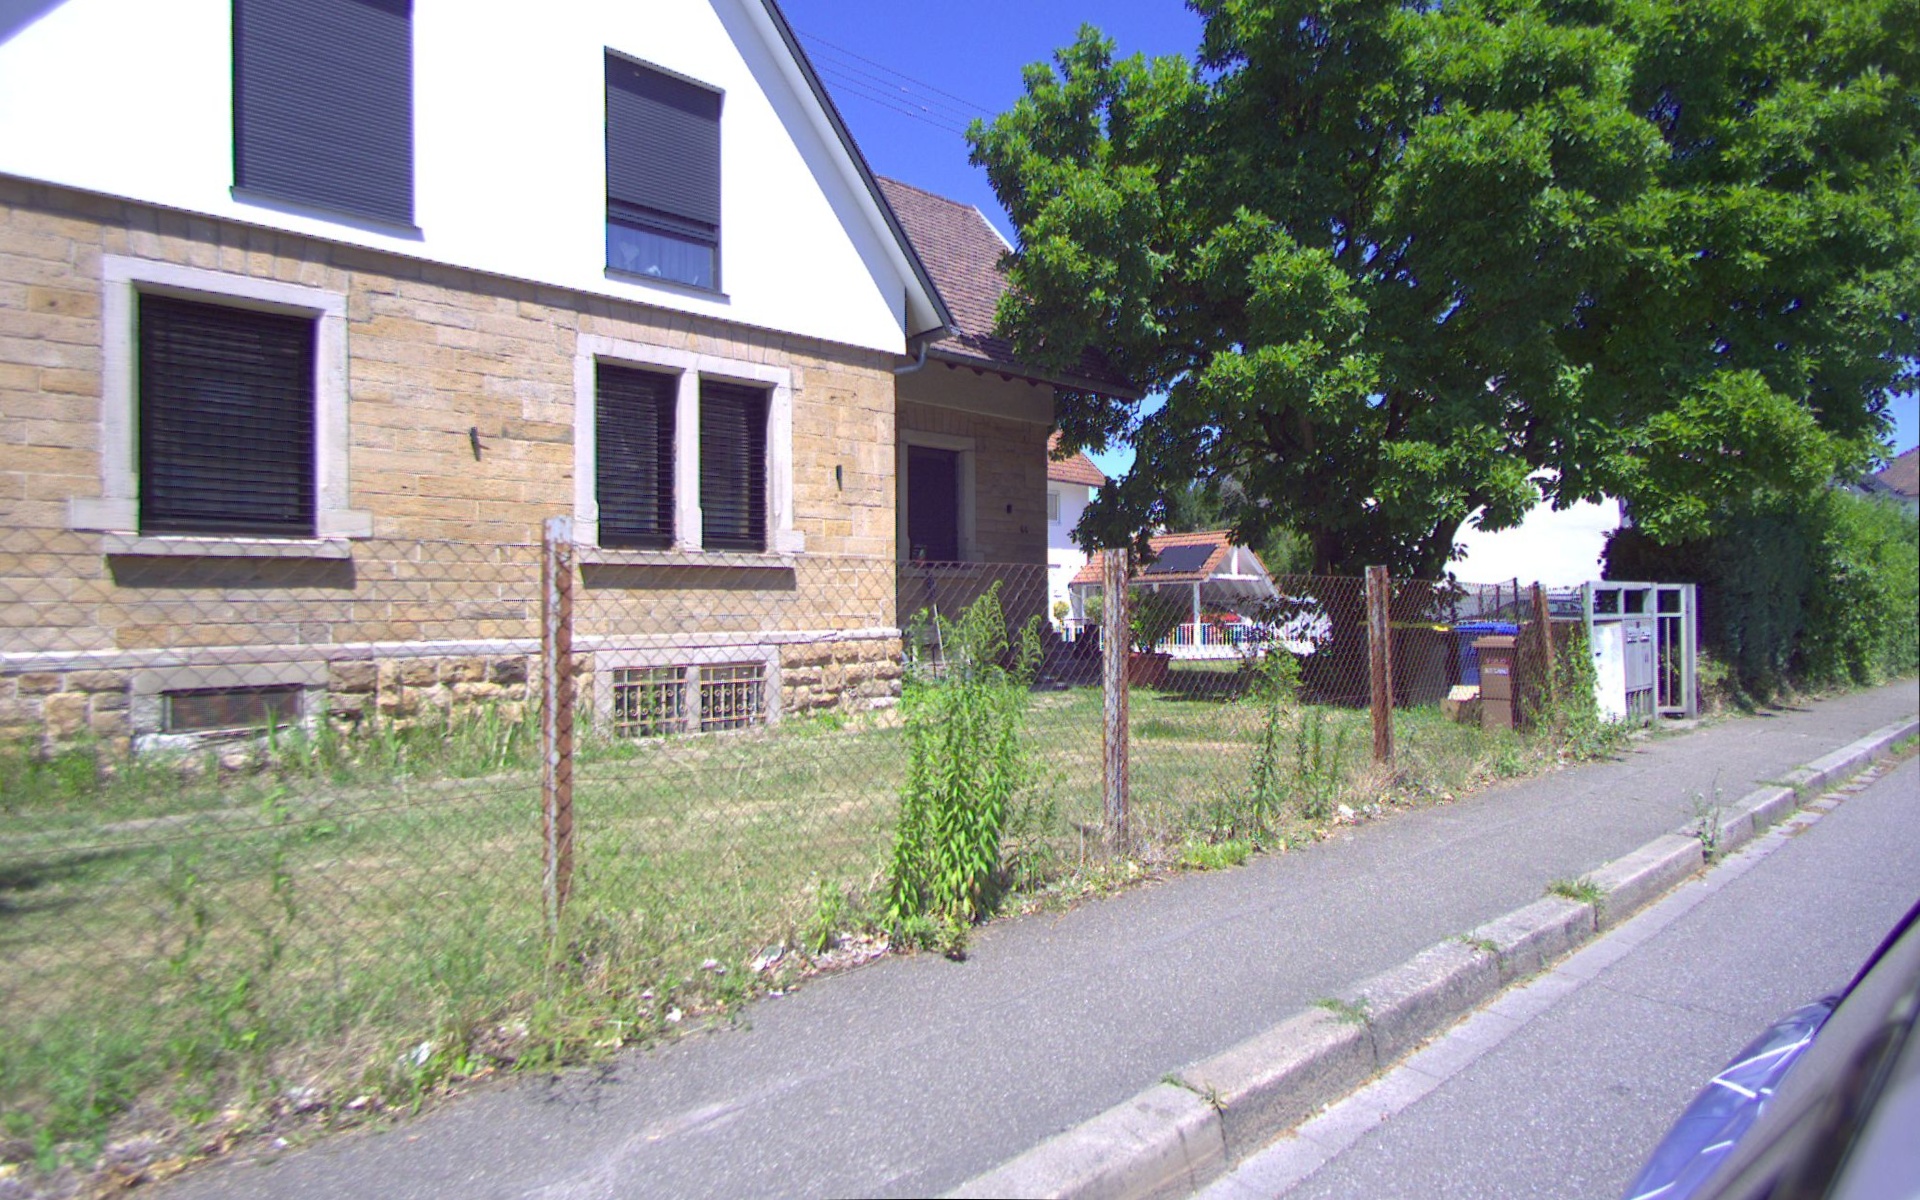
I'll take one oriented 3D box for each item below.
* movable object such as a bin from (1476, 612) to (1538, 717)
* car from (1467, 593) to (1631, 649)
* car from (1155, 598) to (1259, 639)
[{"bbox_3d":[5.841,0.674,10.804,0.536,1.077,0.400,1,0,-38],"label":"movable object such as a bin"},{"bbox_3d":[18.013,0.607,31.072,1.770,1.588,3.991,0,0,-42],"label":"car"},{"bbox_3d":[8.978,0.652,36.954,1.465,1.407,3.462,-1,1,-42],"label":"car"}]
